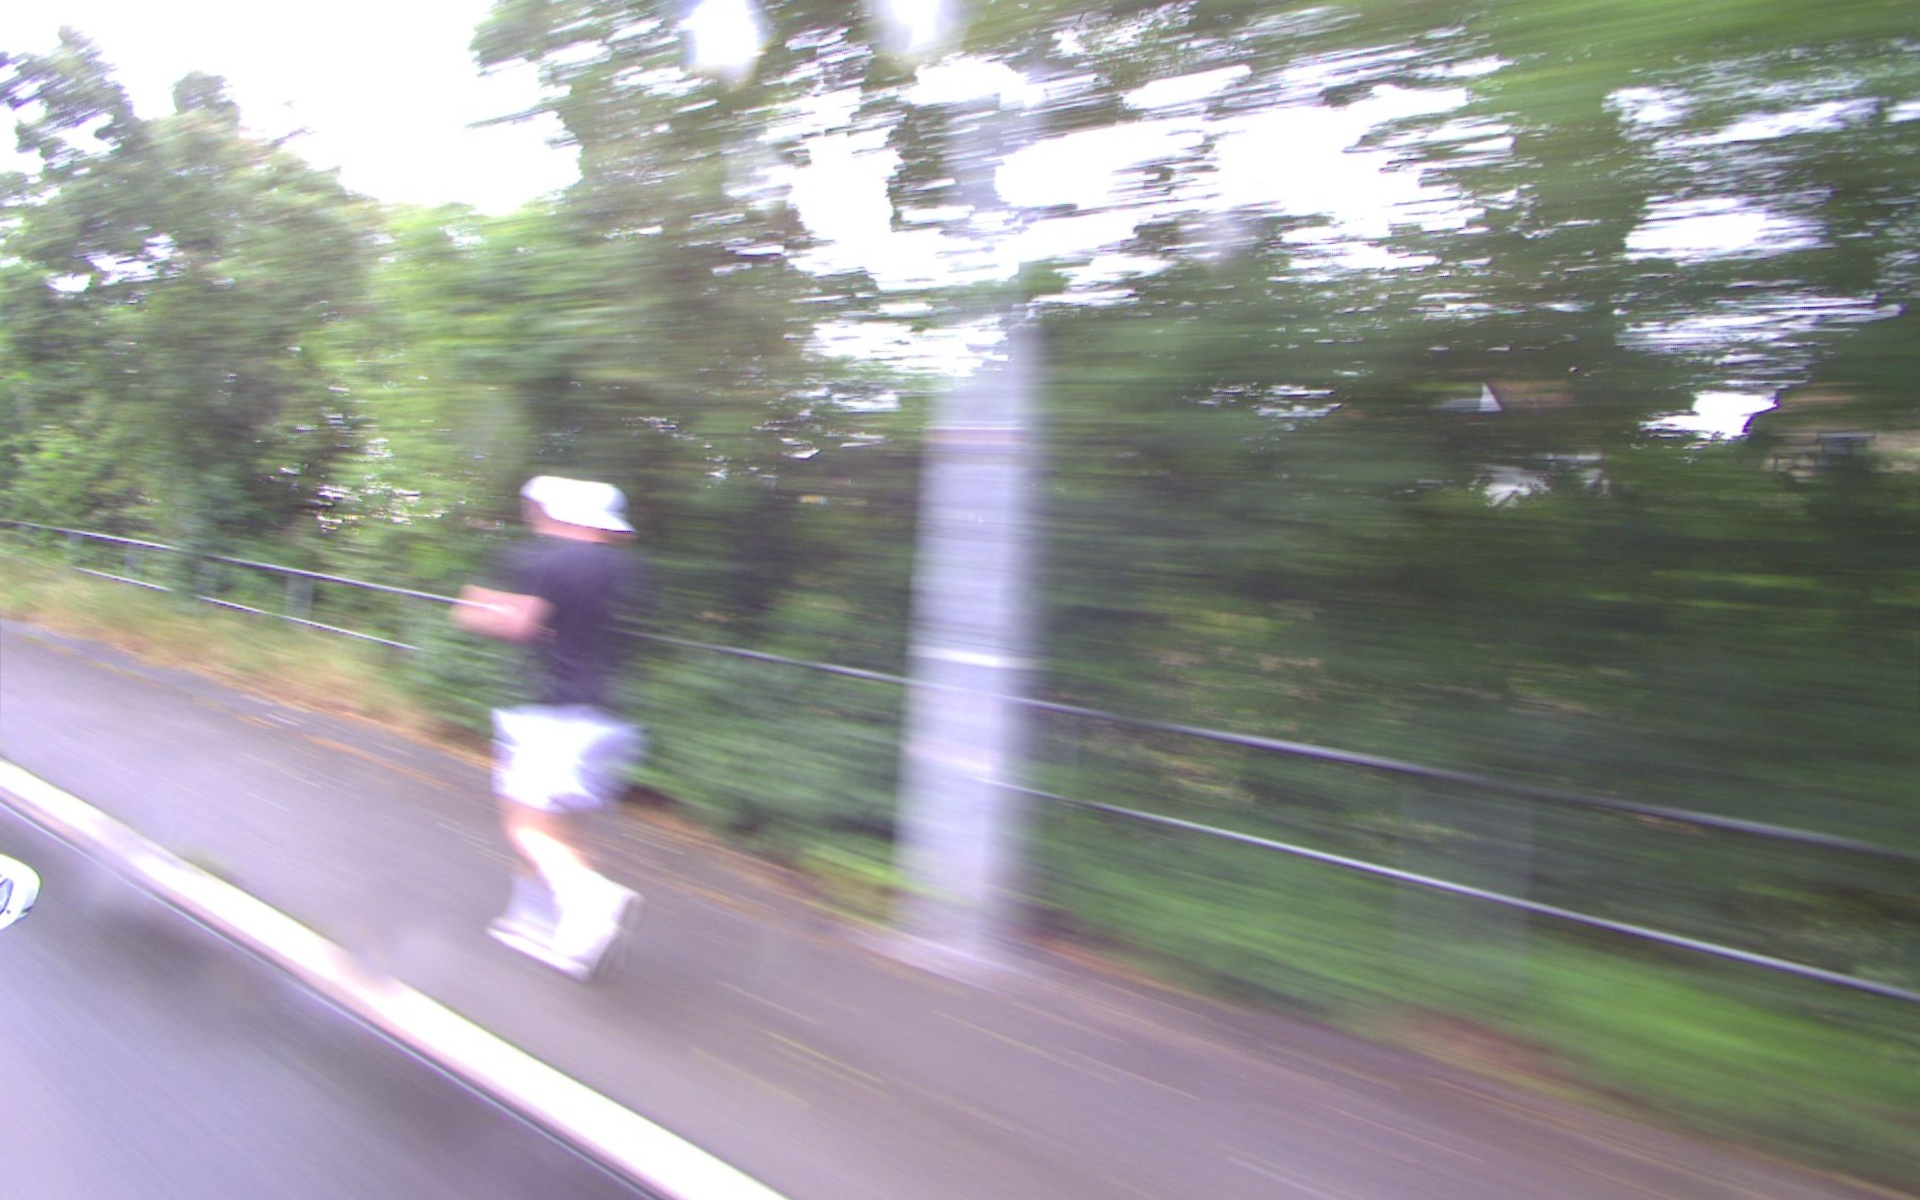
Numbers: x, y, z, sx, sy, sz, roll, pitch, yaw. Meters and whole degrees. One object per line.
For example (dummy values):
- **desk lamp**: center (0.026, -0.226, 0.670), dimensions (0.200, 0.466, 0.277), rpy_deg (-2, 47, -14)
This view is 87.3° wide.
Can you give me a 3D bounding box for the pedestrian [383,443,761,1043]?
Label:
- **pedestrian**: center (-1.419, 0.421, 3.670), dimensions (1.005, 1.859, 0.716), rpy_deg (7, 2, 34)
